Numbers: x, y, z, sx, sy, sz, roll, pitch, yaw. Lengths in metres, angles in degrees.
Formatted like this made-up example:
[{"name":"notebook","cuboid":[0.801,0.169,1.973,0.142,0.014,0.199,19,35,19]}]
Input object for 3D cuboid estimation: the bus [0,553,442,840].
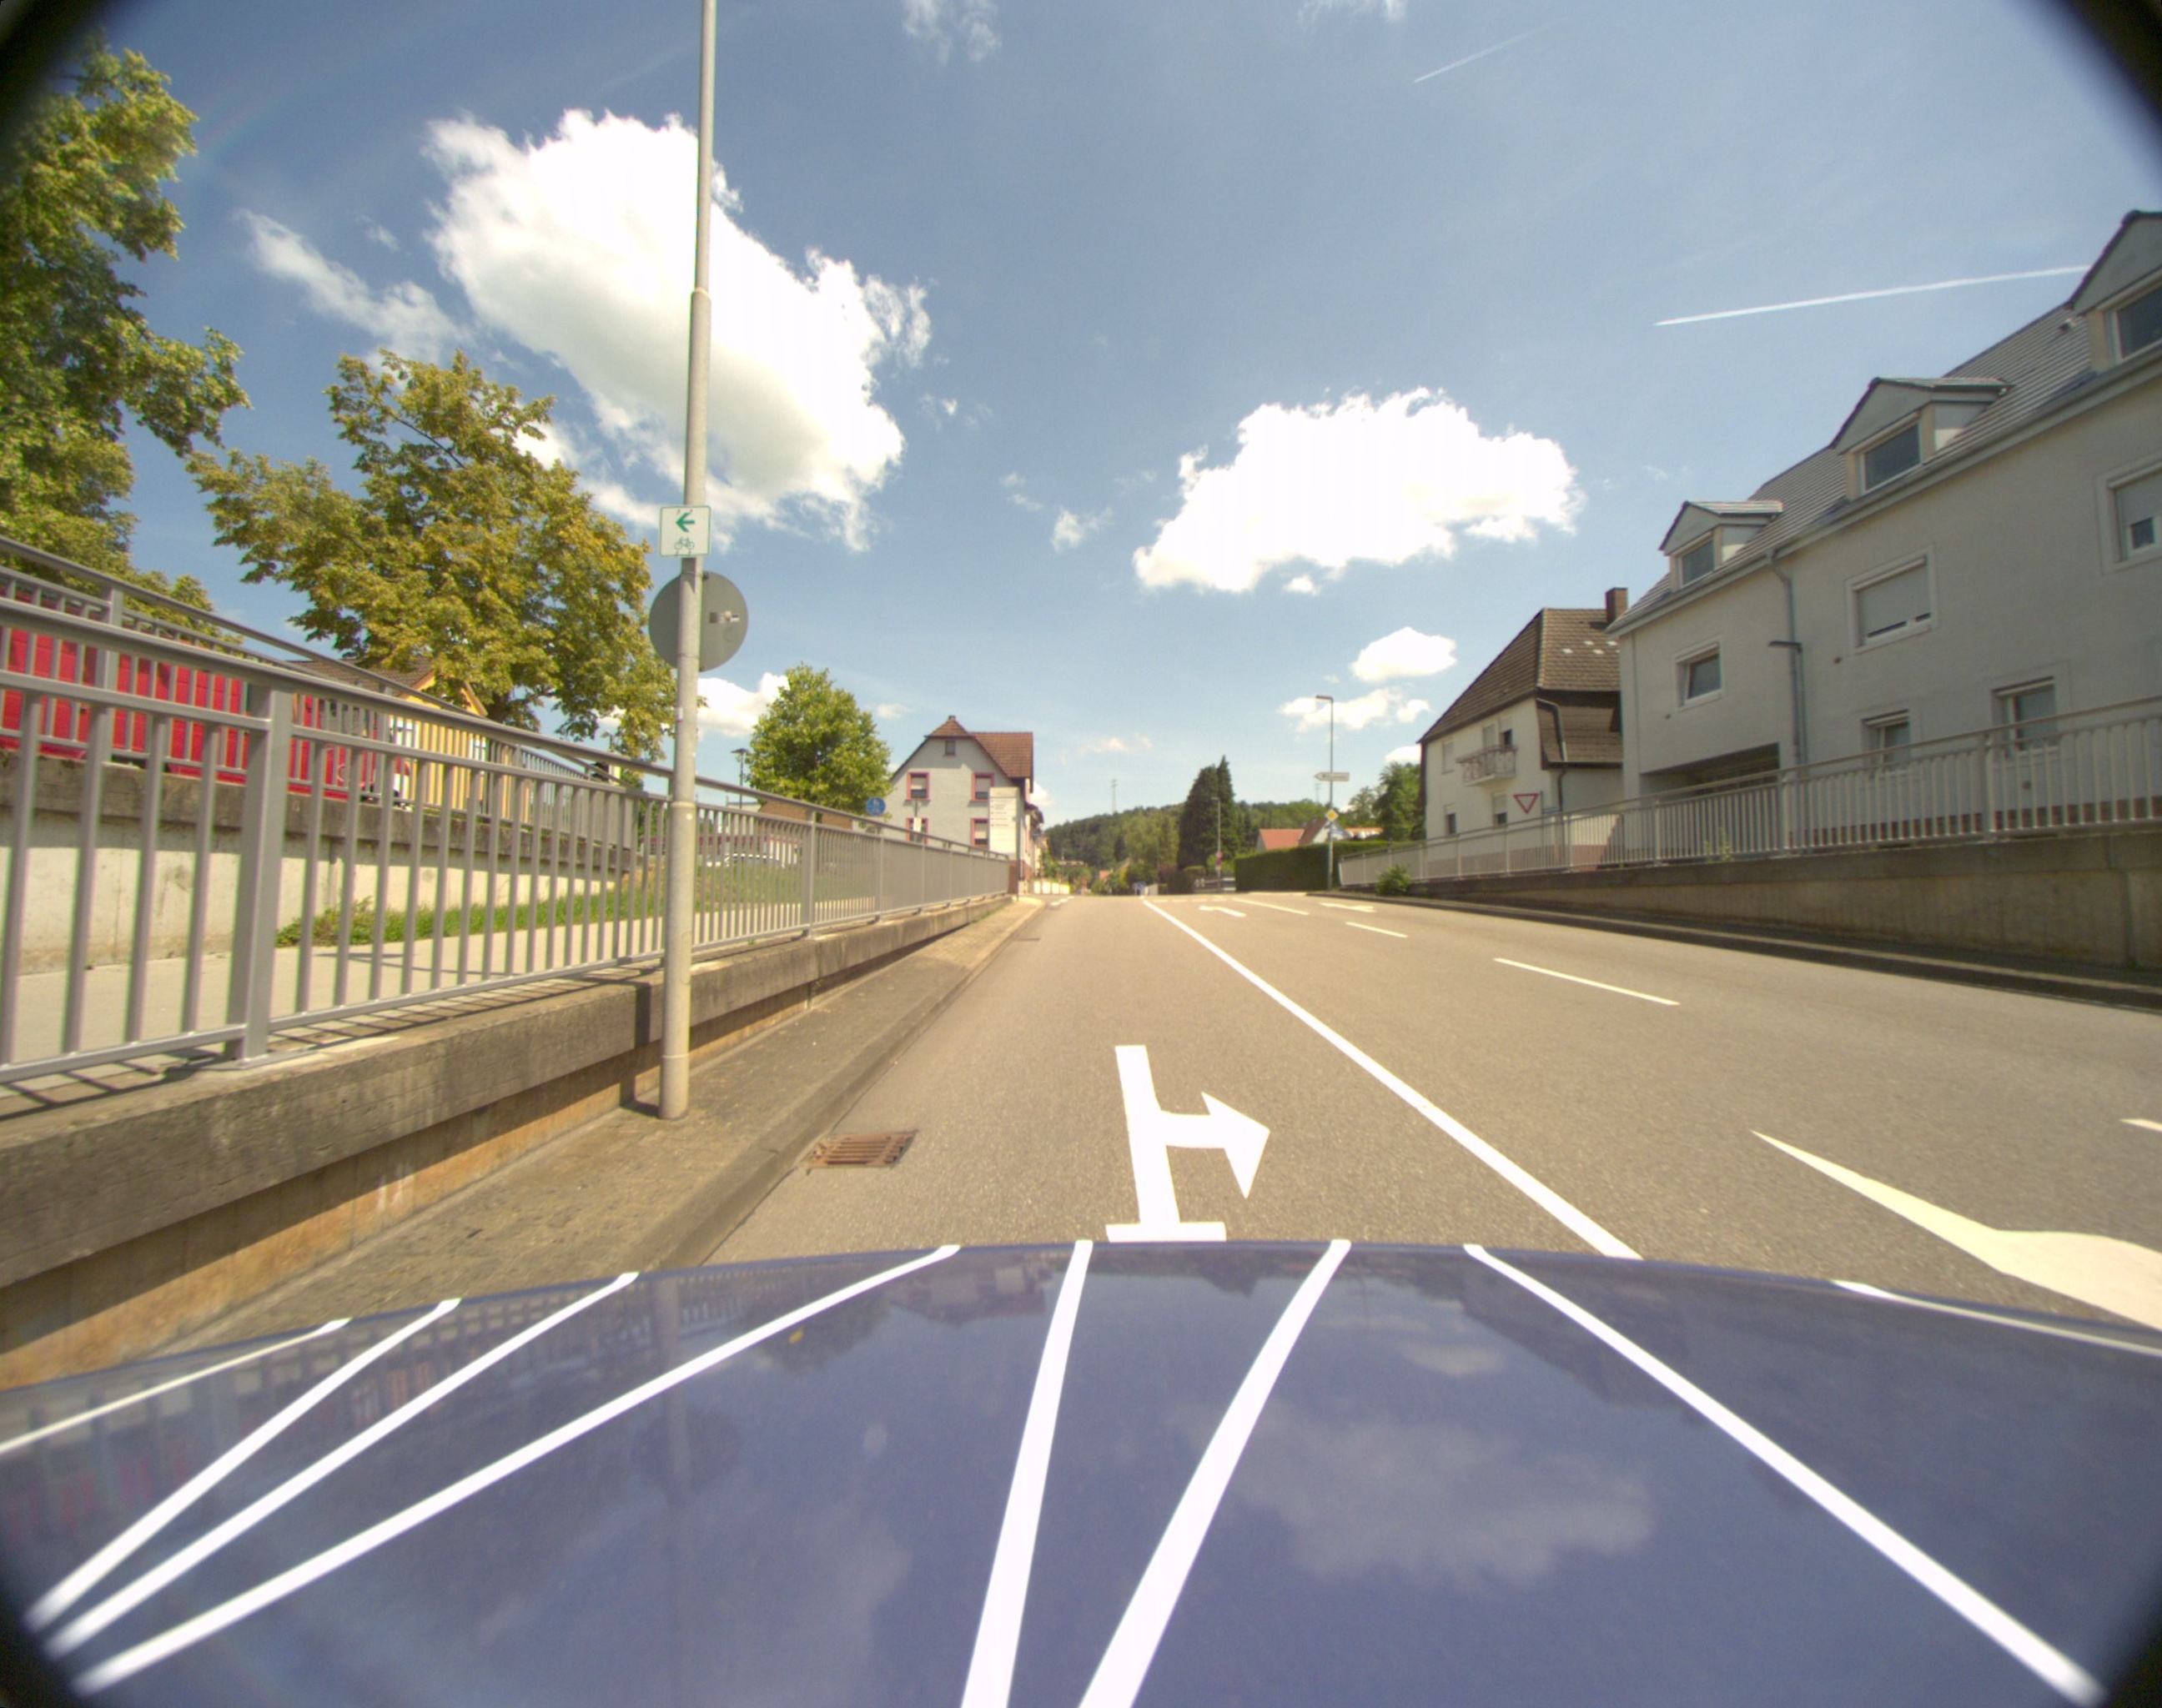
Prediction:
[{"name":"bus","cuboid":[-11.580,-1.593,9.700,2.194,2.351,5.367,1,-4,0]}]
